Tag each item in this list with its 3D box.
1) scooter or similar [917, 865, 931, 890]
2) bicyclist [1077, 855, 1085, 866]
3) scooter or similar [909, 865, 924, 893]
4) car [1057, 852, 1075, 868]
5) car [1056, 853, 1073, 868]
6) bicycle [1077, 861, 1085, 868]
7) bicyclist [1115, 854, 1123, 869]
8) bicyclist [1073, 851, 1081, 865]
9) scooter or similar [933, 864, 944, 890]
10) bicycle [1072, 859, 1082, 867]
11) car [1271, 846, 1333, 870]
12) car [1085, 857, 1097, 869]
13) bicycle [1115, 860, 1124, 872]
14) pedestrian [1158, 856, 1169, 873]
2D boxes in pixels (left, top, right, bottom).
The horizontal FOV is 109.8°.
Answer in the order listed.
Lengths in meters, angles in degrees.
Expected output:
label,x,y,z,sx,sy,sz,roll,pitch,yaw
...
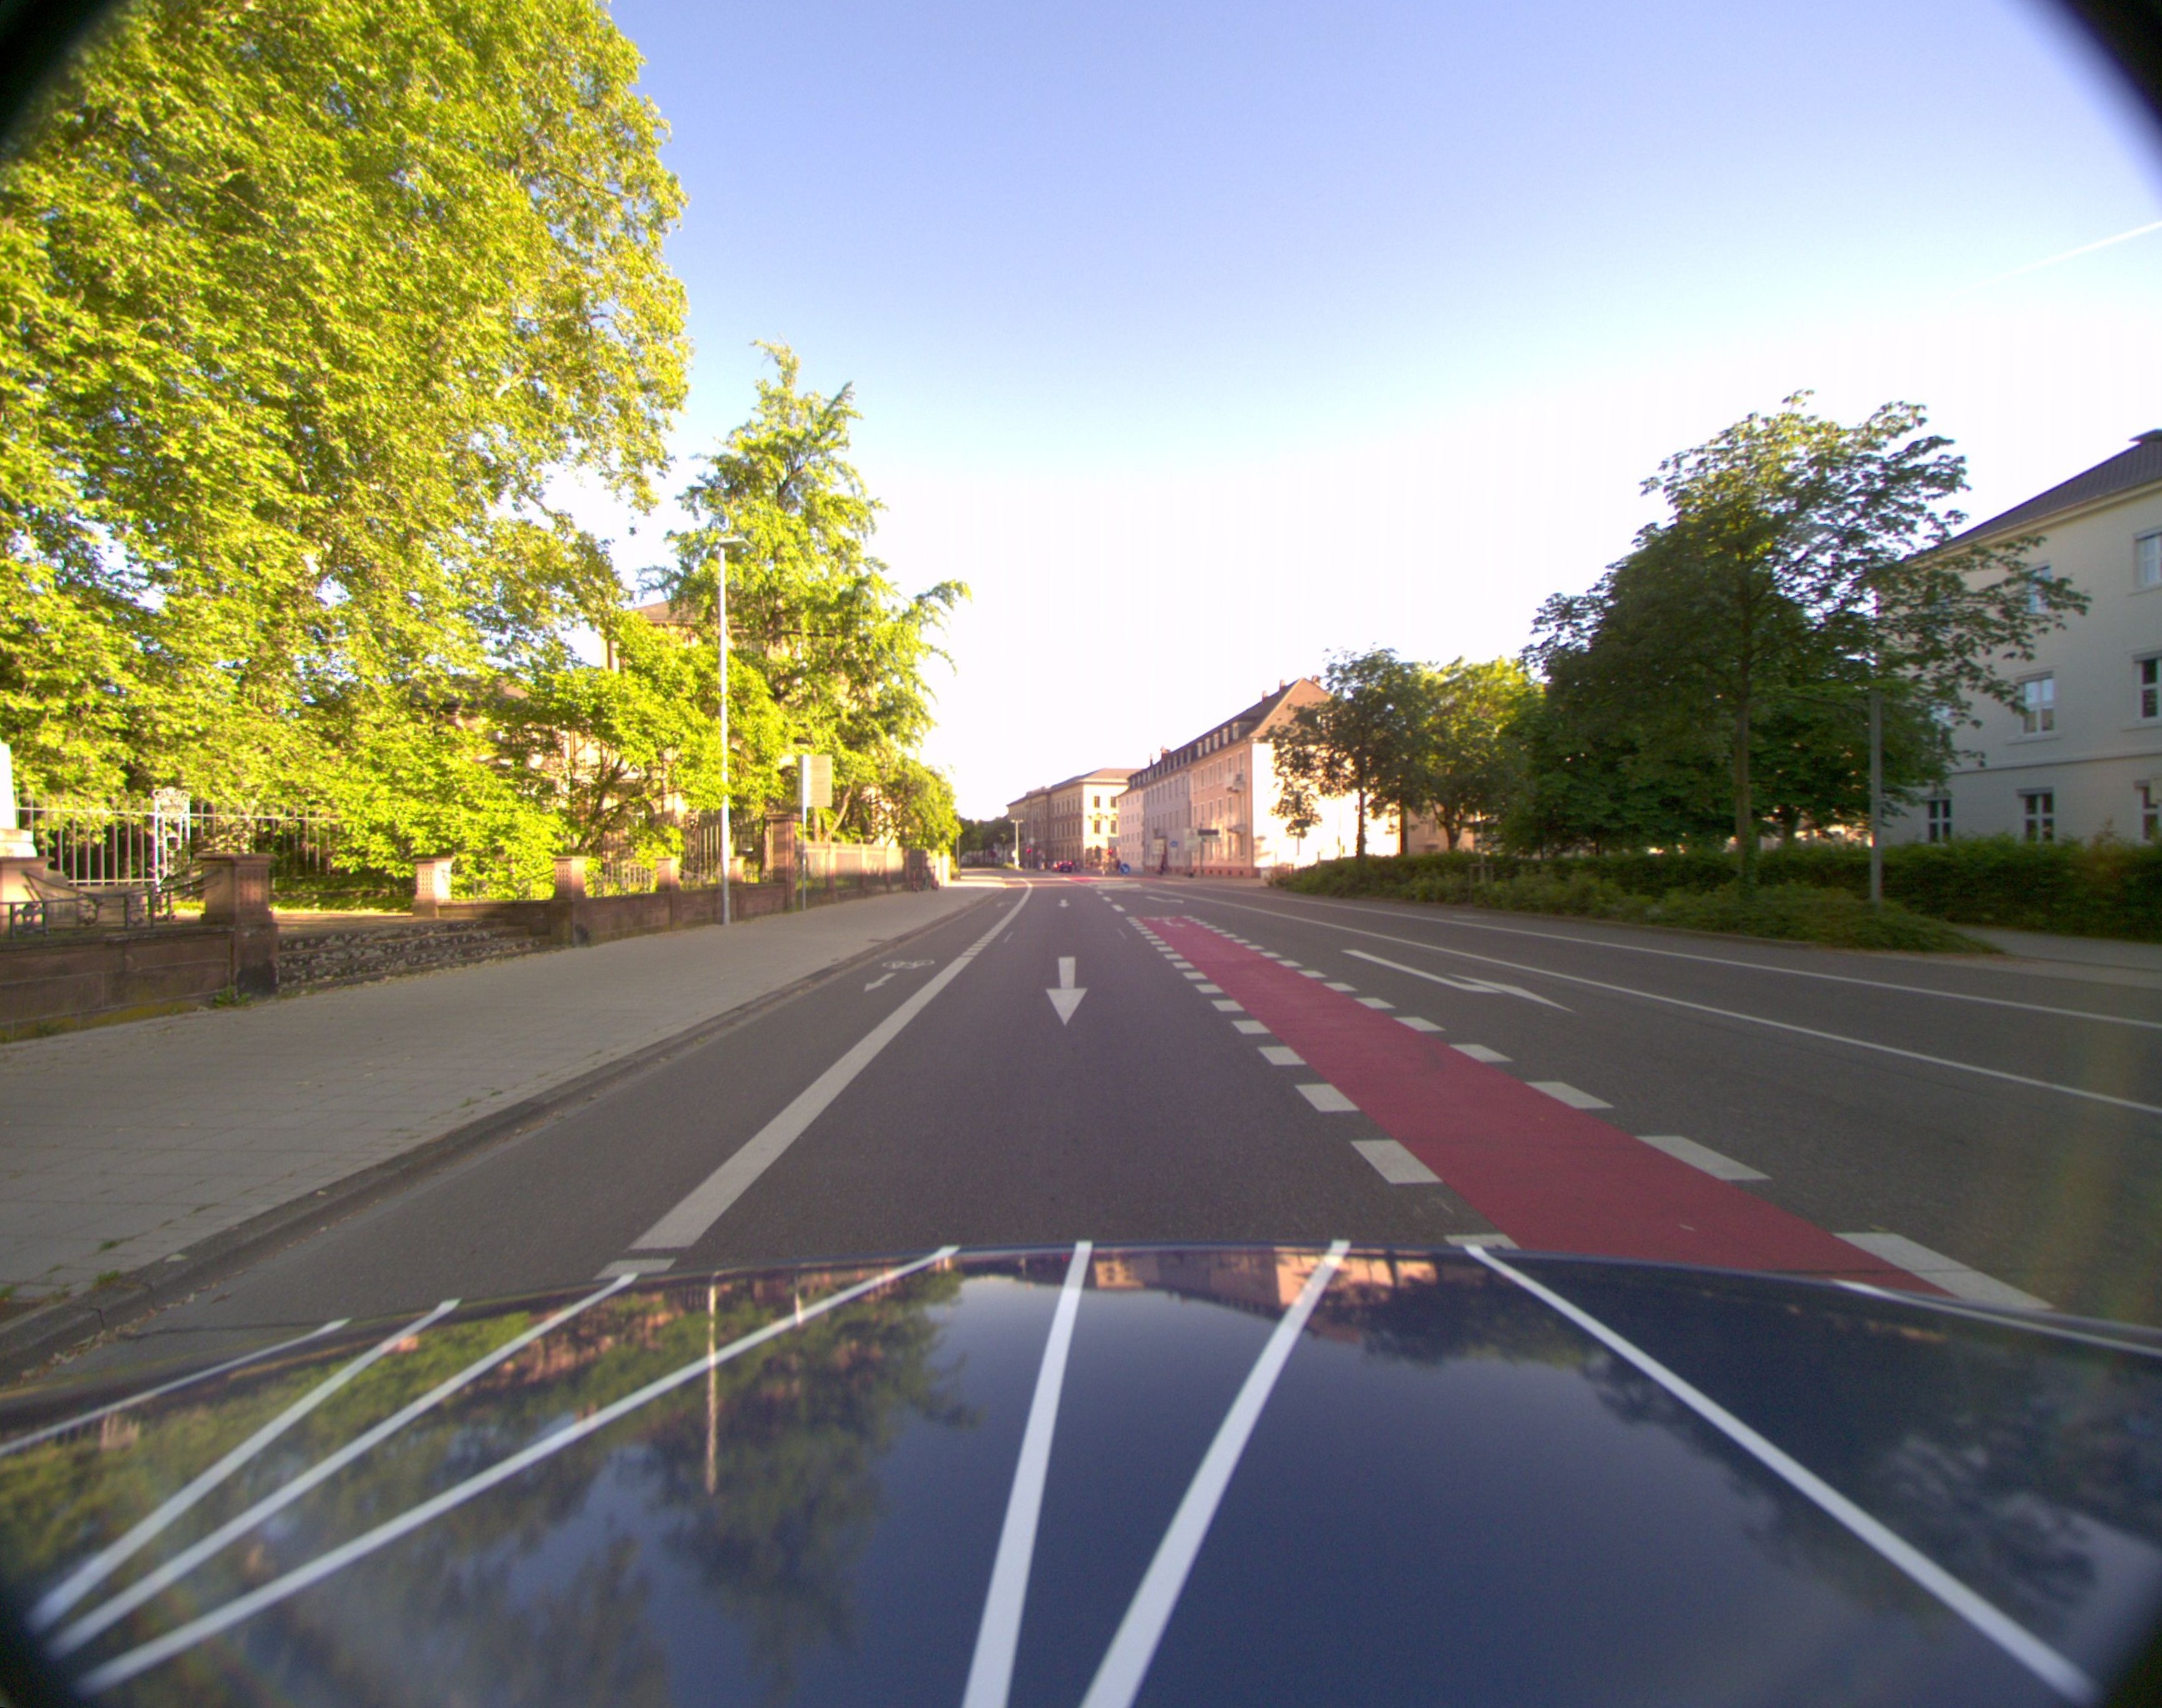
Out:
label,x,y,z,sx,sy,sz,roll,pitch,yaw
scooter or similar,-7.569,1.135,36.697,0.576,1.177,1.487,0,0,-7
bicyclist,-0.036,0.947,104.368,1.026,1.481,0.870,0,0,-9
scooter or similar,-7.555,1.121,34.844,0.577,1.246,1.486,0,0,-15
car,-1.903,0.784,96.250,1.999,2.002,3.998,0,0,-5
car,-2.291,0.856,102.117,1.999,2.002,3.998,0,0,-5
bicycle,-0.030,1.434,104.238,0.663,0.907,2.861,0,0,-9
bicyclist,3.979,0.781,79.524,0.691,1.553,0.838,1,0,-3
bicyclist,-0.557,0.600,109.094,0.956,2.002,1.307,0,0,-9
scooter or similar,-7.095,1.125,37.778,0.517,1.233,1.521,0,0,-11
bicycle,-0.575,1.287,109.195,0.956,1.216,2.776,0,0,-9
car,16.717,0.273,57.575,4.000,1.652,1.998,-2,1,-9
car,1.676,1.469,127.780,1.867,1.871,4.000,-2,1,1
bicycle,3.974,1.231,79.466,0.697,1.152,2.245,1,0,-3
pedestrian,9.591,1.183,88.578,0.949,1.894,1.062,-2,1,-7
